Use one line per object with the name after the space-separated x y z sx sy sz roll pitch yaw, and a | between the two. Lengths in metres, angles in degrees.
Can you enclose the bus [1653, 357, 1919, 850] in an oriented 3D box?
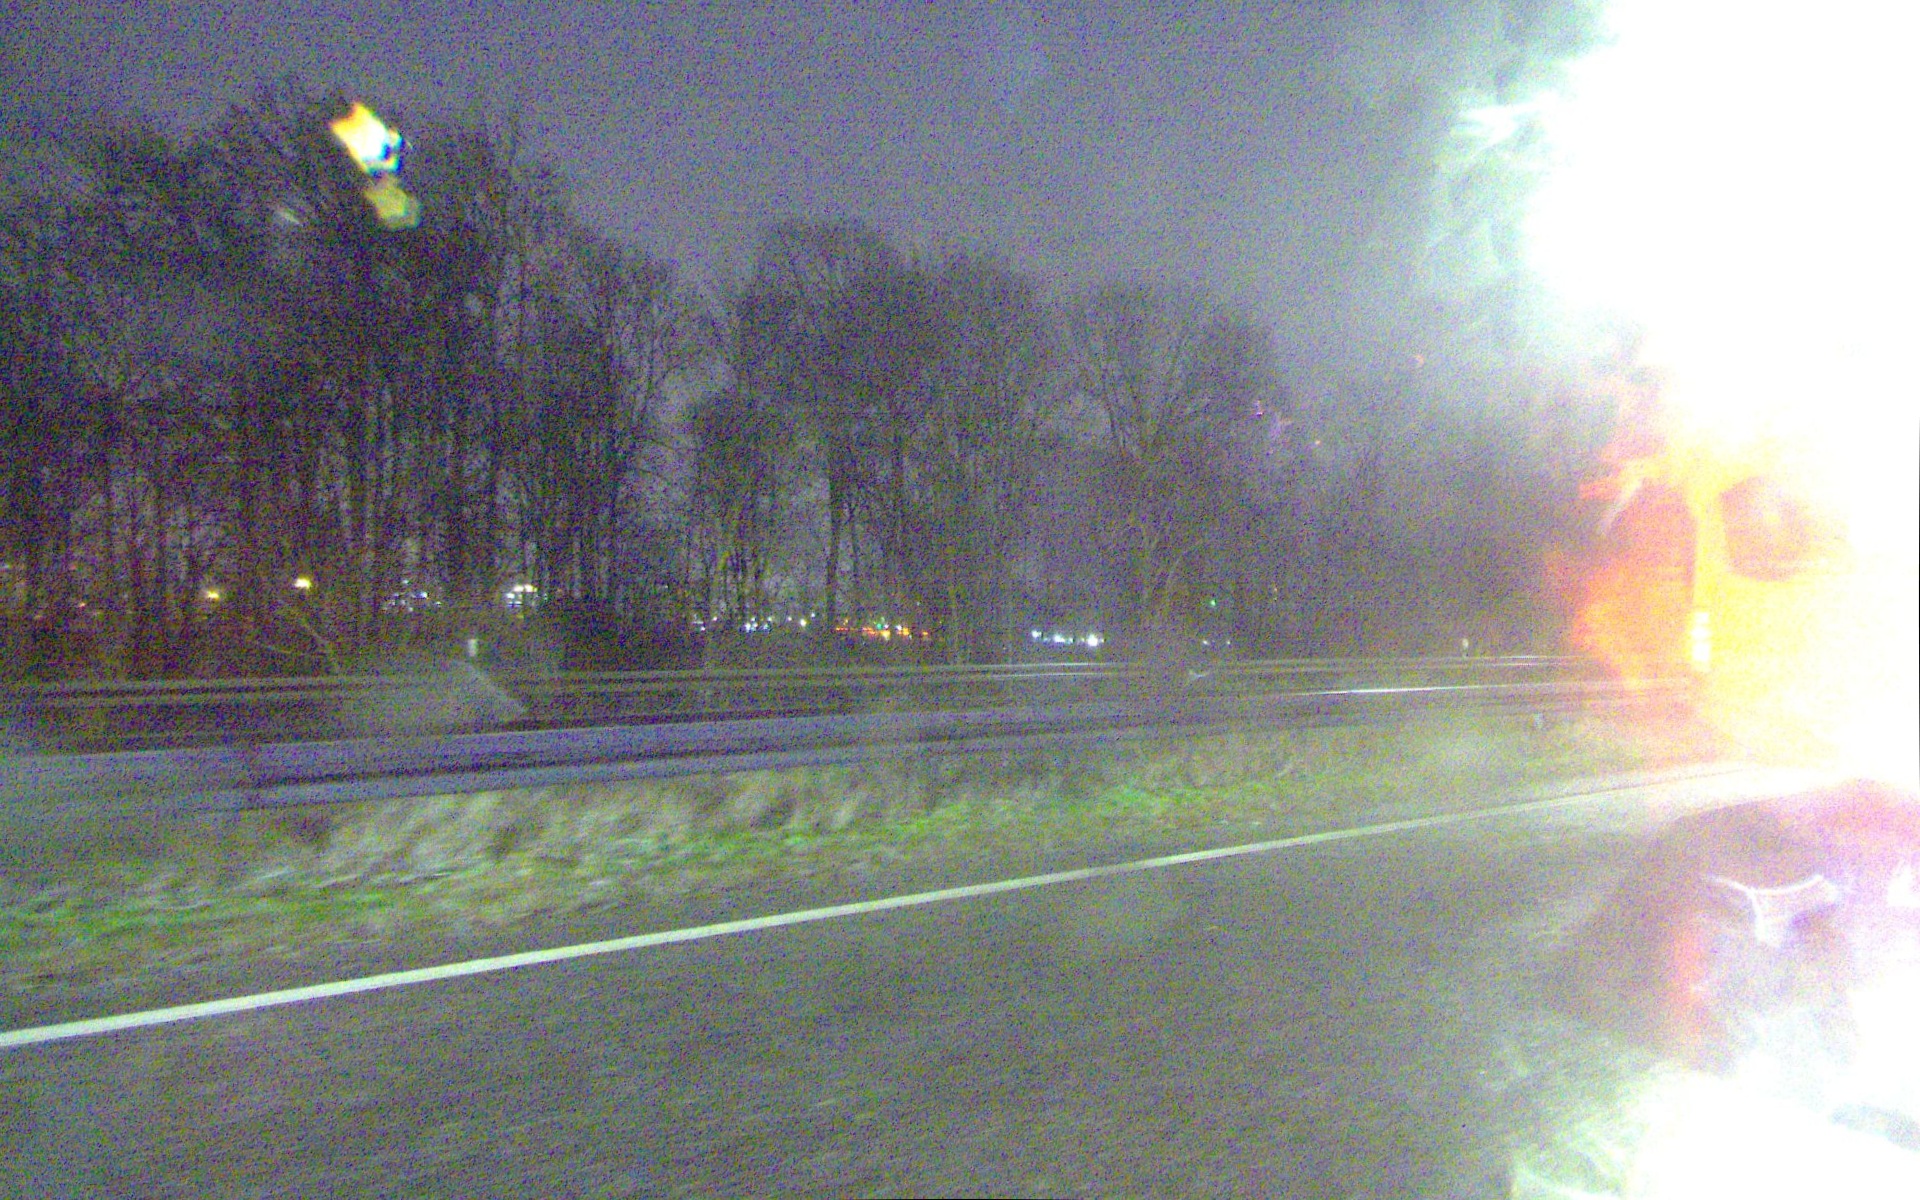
9.963 0.079 8.978 9.097 3.165 2.729 1 1 -32 | bus
